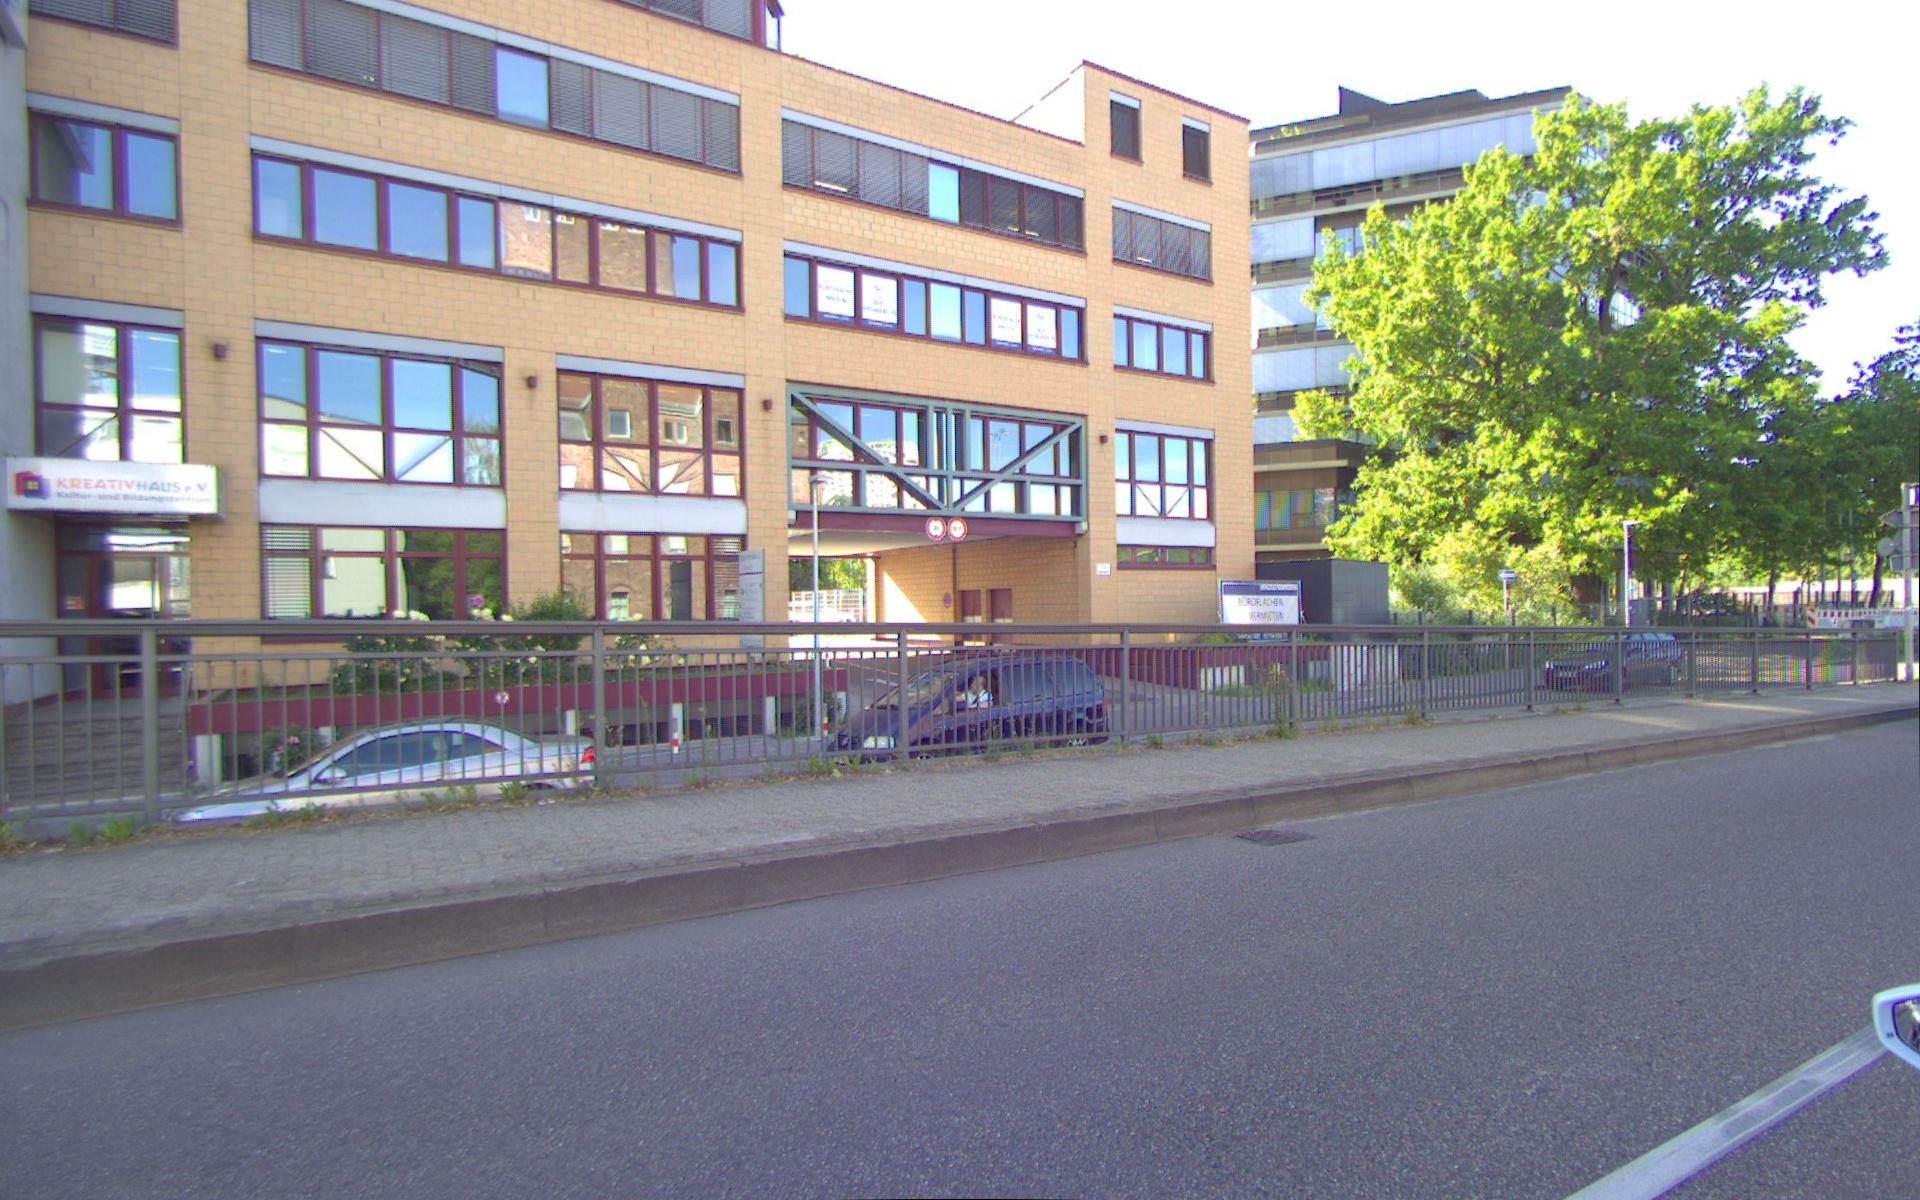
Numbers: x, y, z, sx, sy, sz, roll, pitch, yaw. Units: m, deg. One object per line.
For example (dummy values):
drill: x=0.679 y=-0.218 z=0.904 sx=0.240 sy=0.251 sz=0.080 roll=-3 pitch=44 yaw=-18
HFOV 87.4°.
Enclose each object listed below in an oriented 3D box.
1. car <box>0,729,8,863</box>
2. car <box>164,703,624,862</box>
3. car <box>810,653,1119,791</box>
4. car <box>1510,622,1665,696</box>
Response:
car: x=-10.635 y=1.890 z=8.290 sx=3.766 sy=1.286 sz=1.567 roll=0 pitch=-2 yaw=-32
car: x=-6.142 y=1.904 z=11.306 sx=4.210 sy=1.181 sz=1.713 roll=0 pitch=-2 yaw=-32
car: x=0.158 y=1.700 z=15.168 sx=4.541 sy=1.669 sz=1.710 roll=0 pitch=-2 yaw=-35
car: x=16.427 y=1.472 z=26.272 sx=3.953 sy=1.715 sz=1.843 roll=-1 pitch=0 yaw=-30
